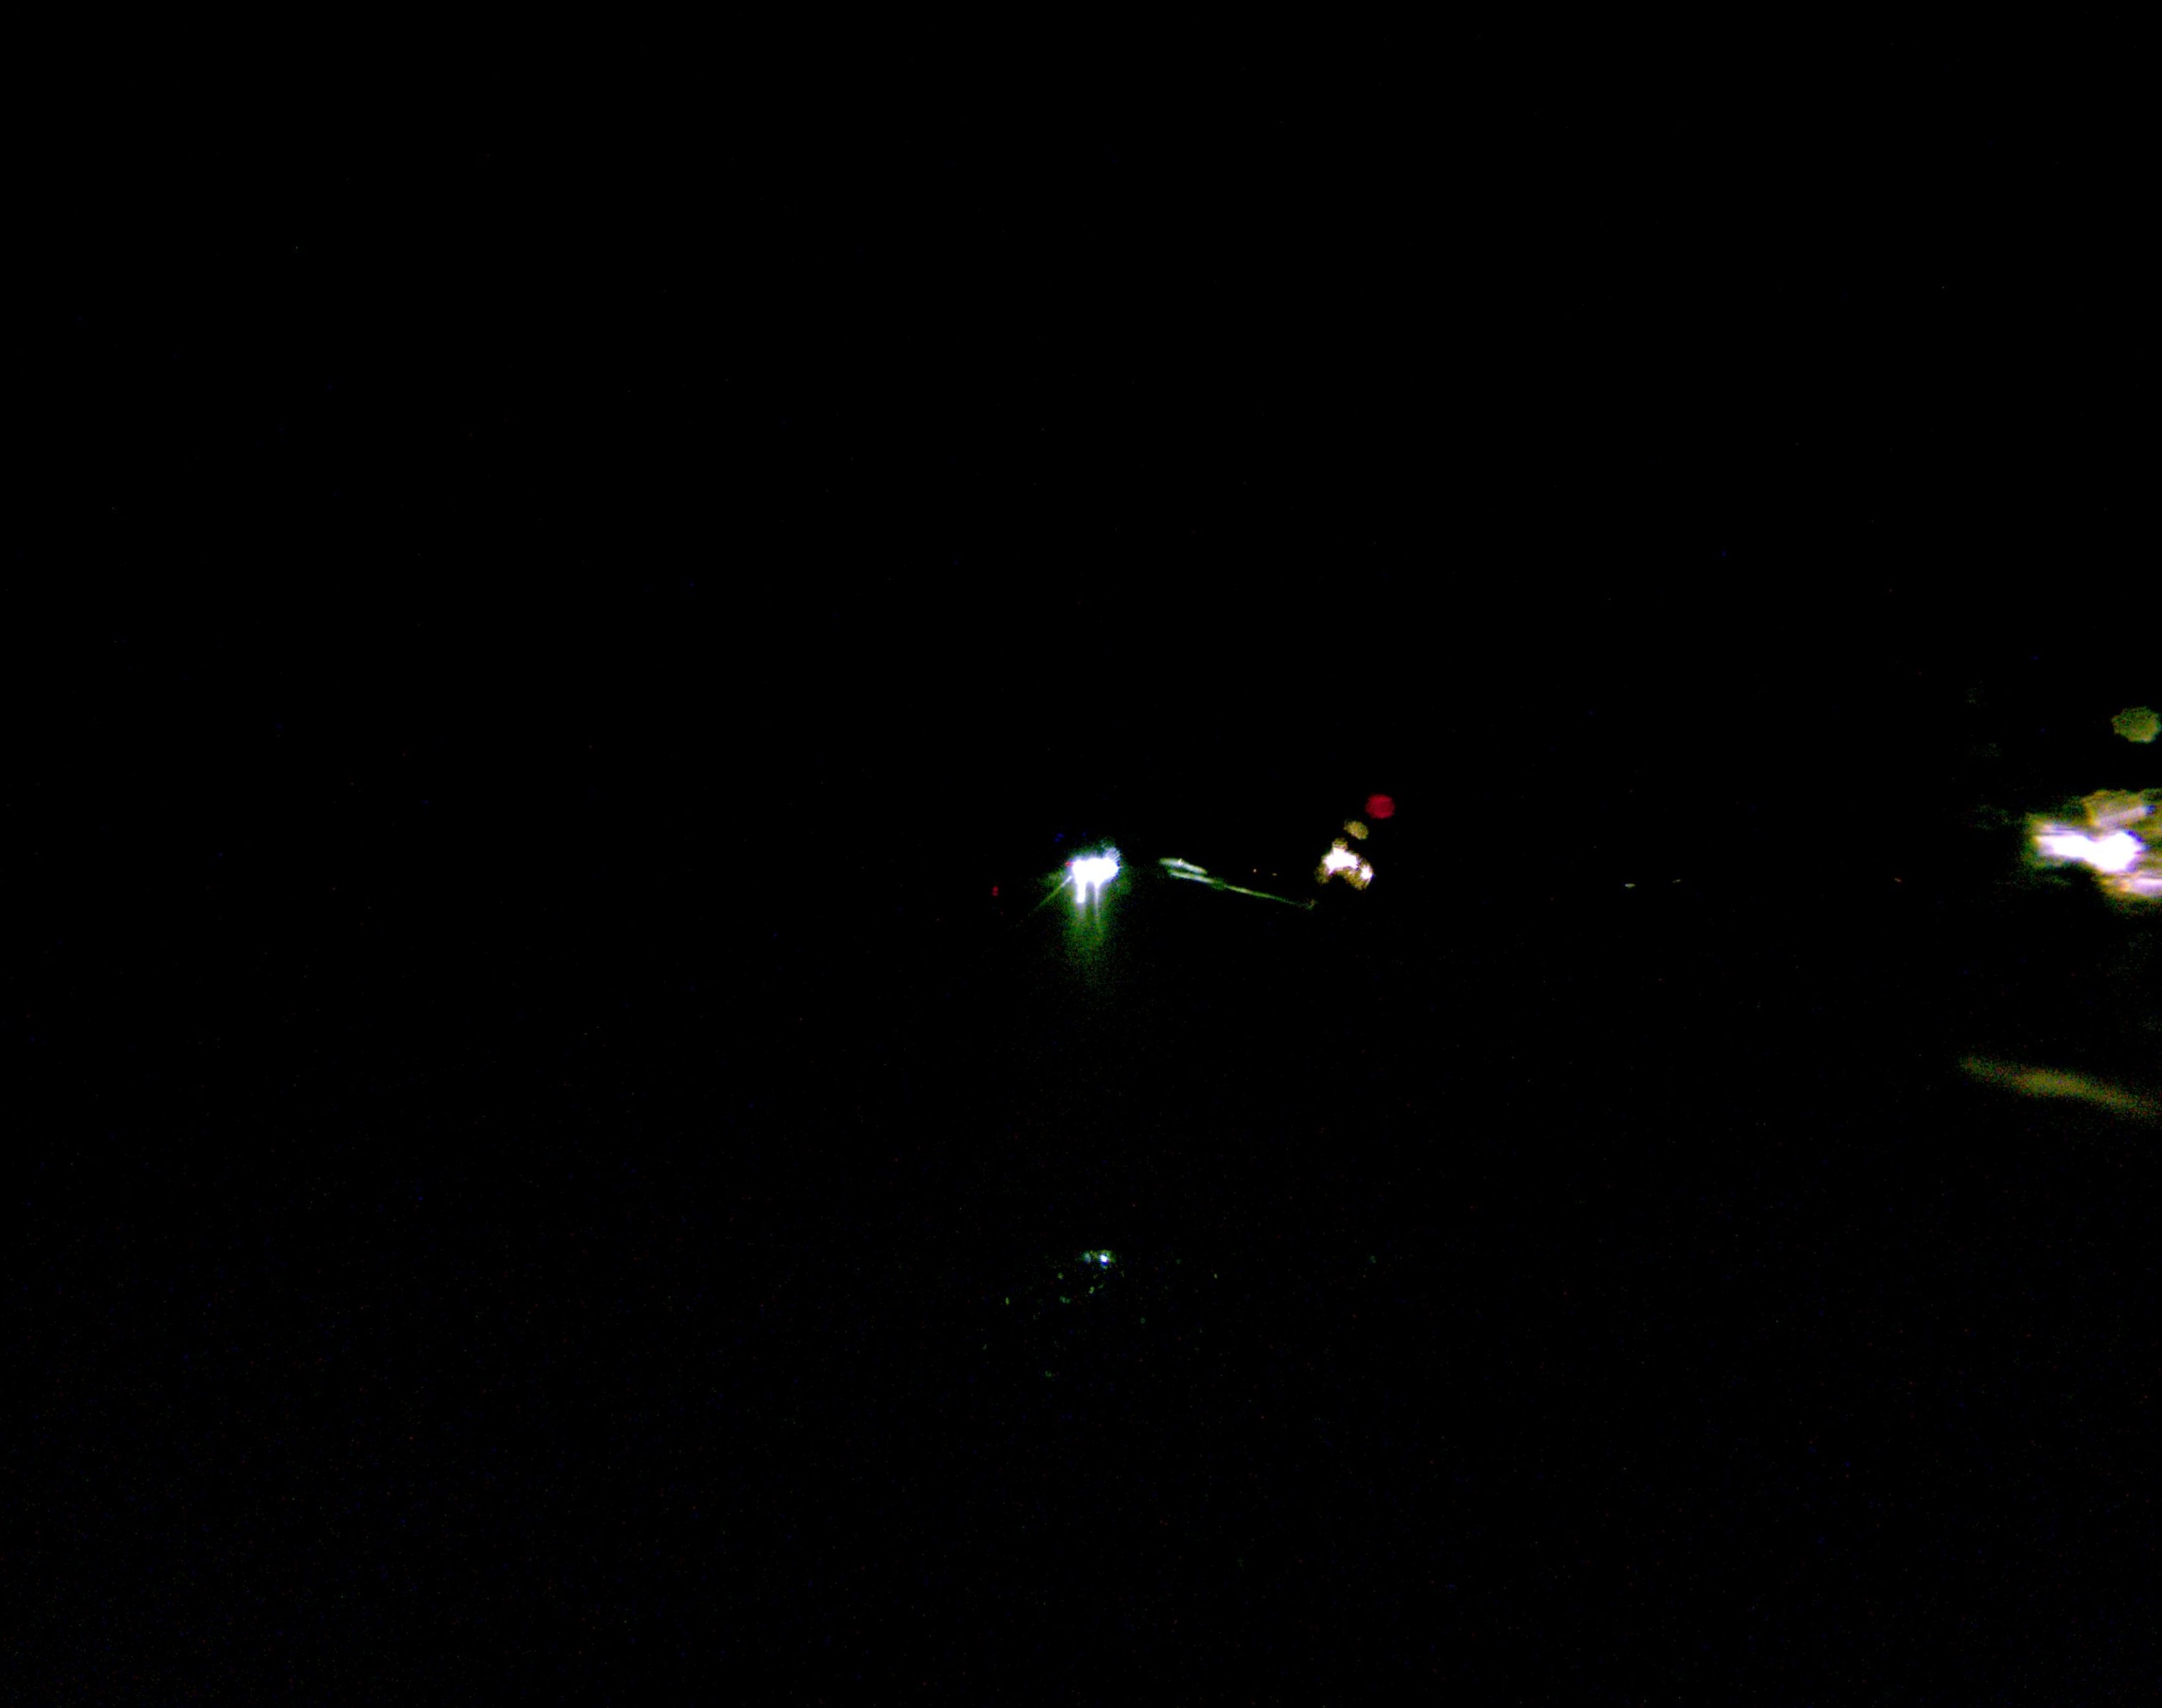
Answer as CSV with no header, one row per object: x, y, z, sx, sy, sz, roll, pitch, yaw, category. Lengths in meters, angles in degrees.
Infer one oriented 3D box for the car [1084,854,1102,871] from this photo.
1.332,0.898,83.309,1.959,1.711,4.000,-1,0,1,car
